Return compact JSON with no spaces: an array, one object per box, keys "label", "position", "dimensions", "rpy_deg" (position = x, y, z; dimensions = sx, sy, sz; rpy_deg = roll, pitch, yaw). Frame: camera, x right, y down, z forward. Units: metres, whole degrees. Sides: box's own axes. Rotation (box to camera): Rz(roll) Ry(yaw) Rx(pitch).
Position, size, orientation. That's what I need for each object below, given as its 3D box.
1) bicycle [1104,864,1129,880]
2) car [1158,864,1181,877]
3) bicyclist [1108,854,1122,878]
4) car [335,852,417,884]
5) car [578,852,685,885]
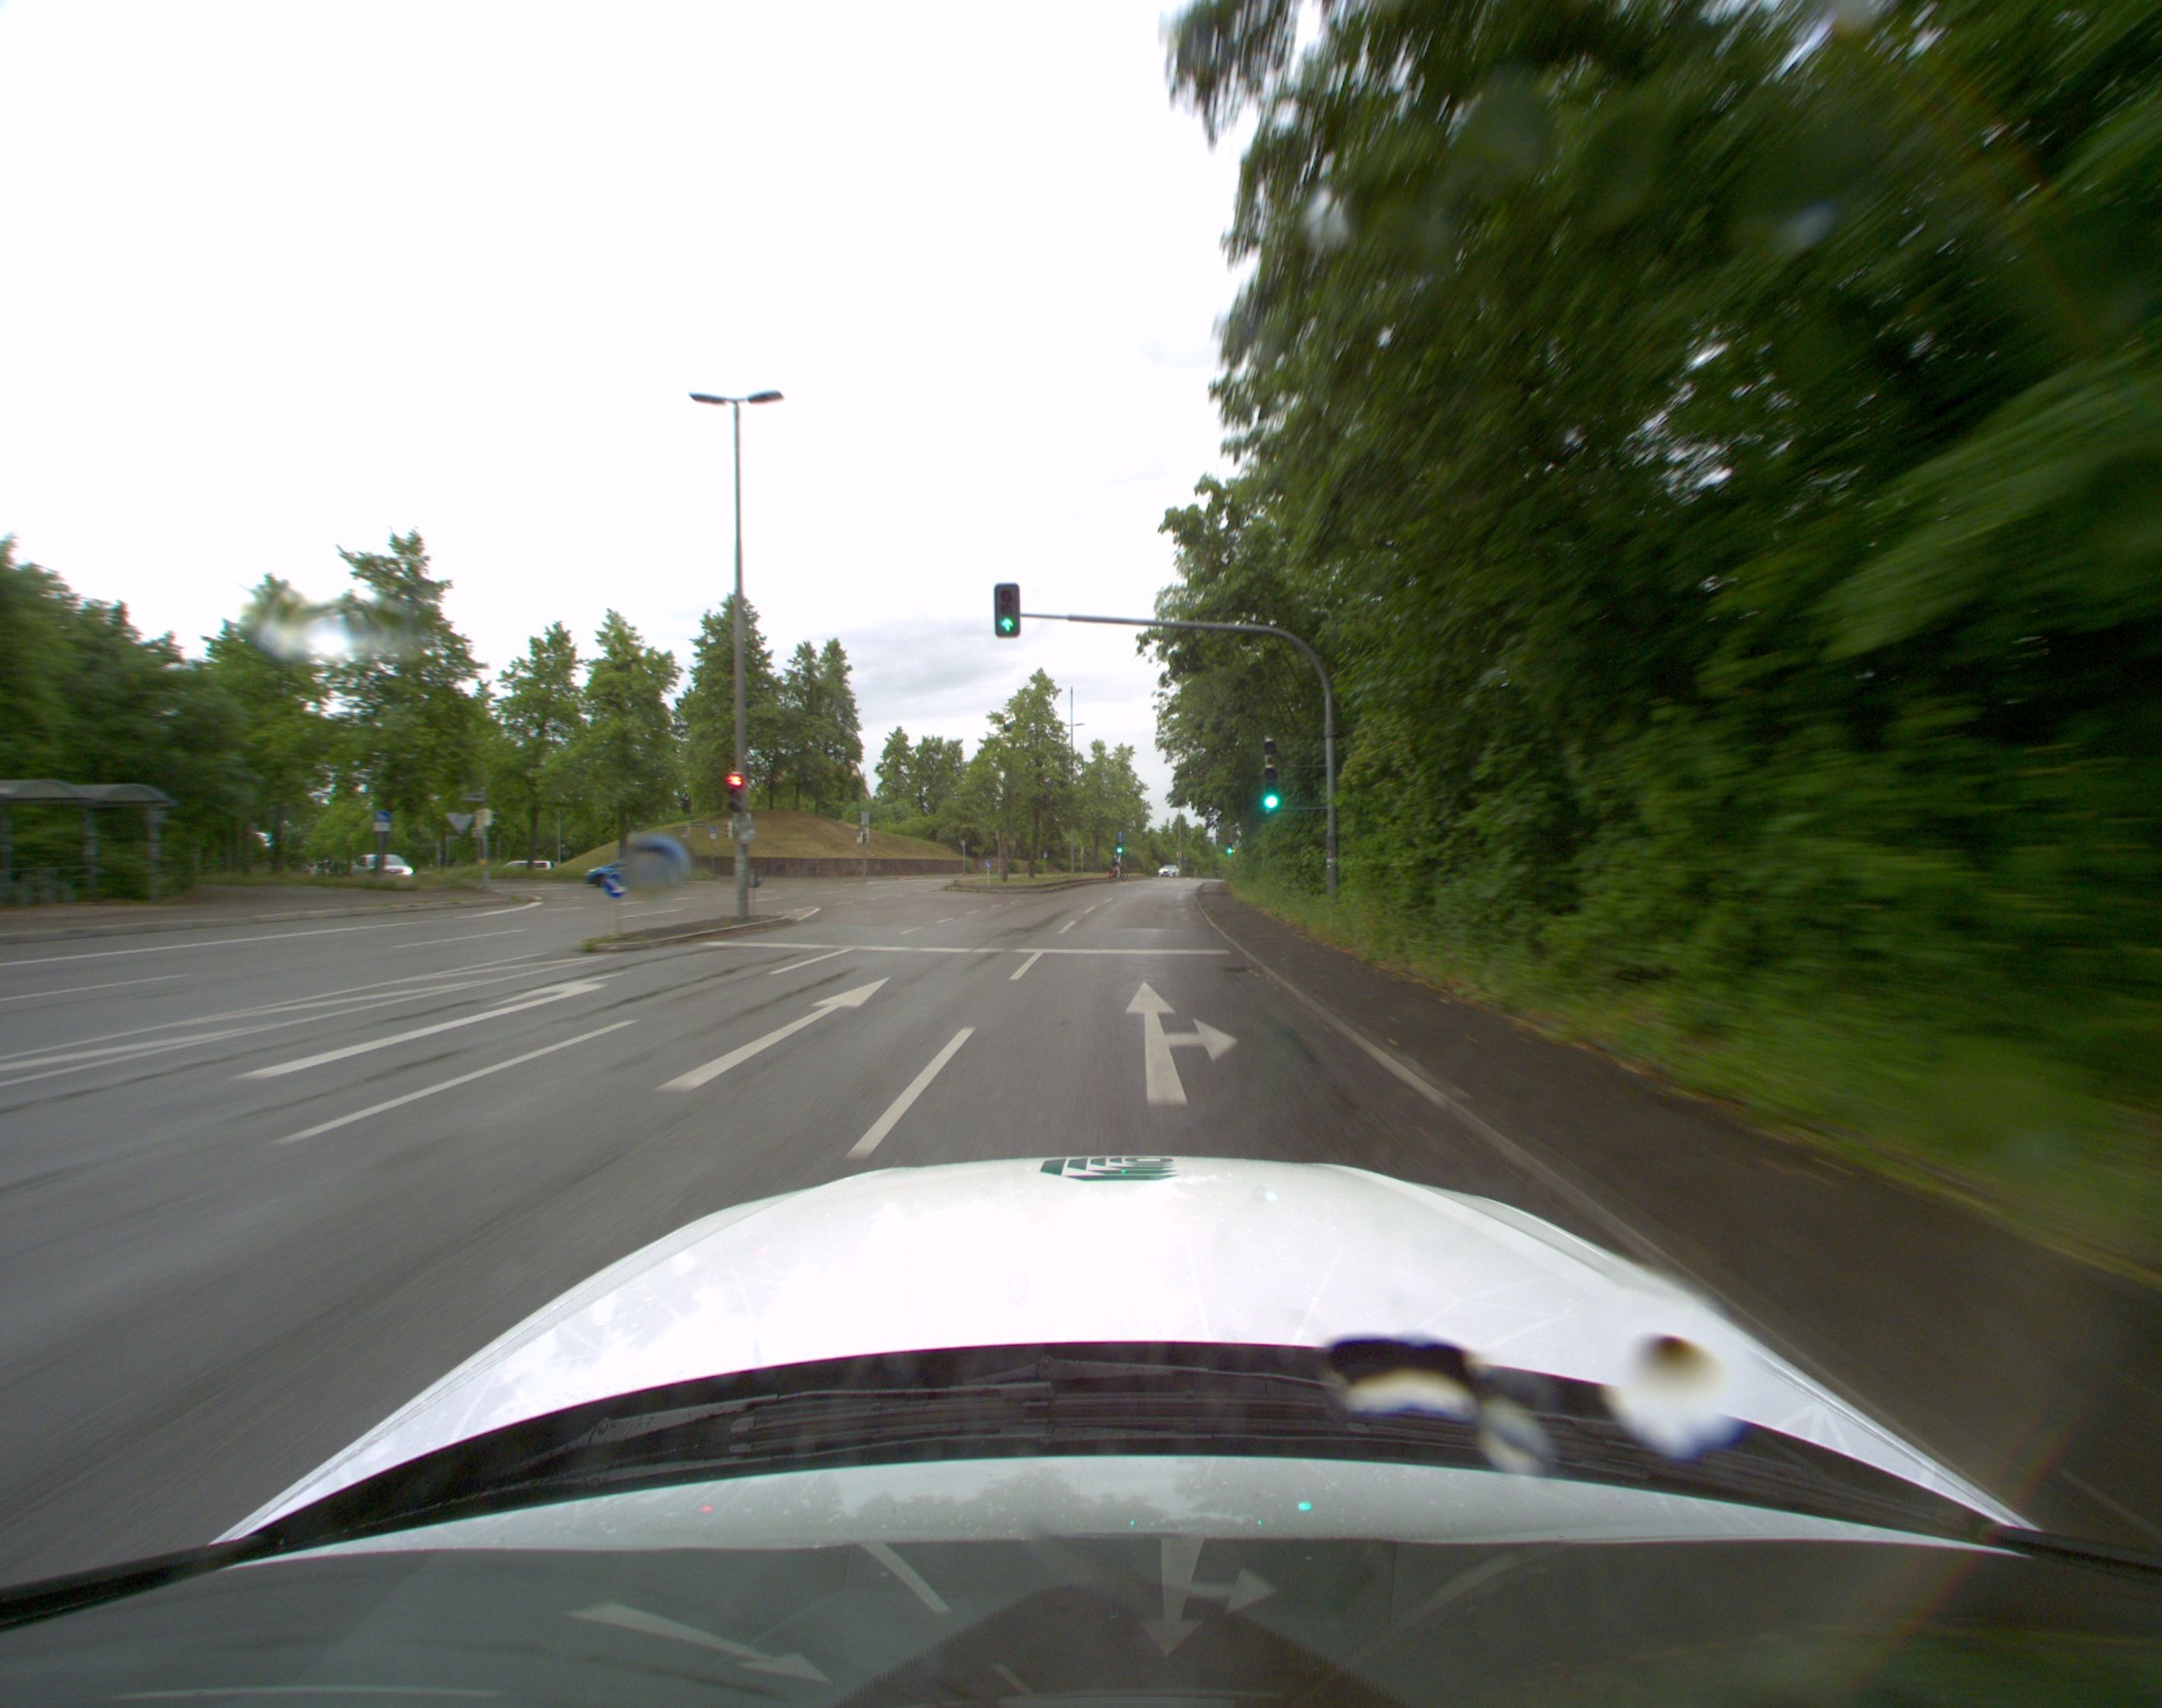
[{"label":"bicycle","position":[2.712,1.376,61.703],"dimensions":[2.151,1.143,0.547],"rpy_deg":[2,-1,-42]},{"label":"car","position":[11.711,2.194,107.228],"dimensions":[1.929,1.636,5.028],"rpy_deg":[0,-2,19]},{"label":"bicyclist","position":[2.568,0.934,61.665],"dimensions":[0.805,1.752,0.716],"rpy_deg":[3,-5,-42]},{"label":"car","position":[-33.823,0.672,39.050],"dimensions":[3.651,1.478,1.772],"rpy_deg":[0,-1,29]},{"label":"car","position":[-20.947,0.681,38.078],"dimensions":[3.927,1.490,1.992],"rpy_deg":[1,0,-13]}]
